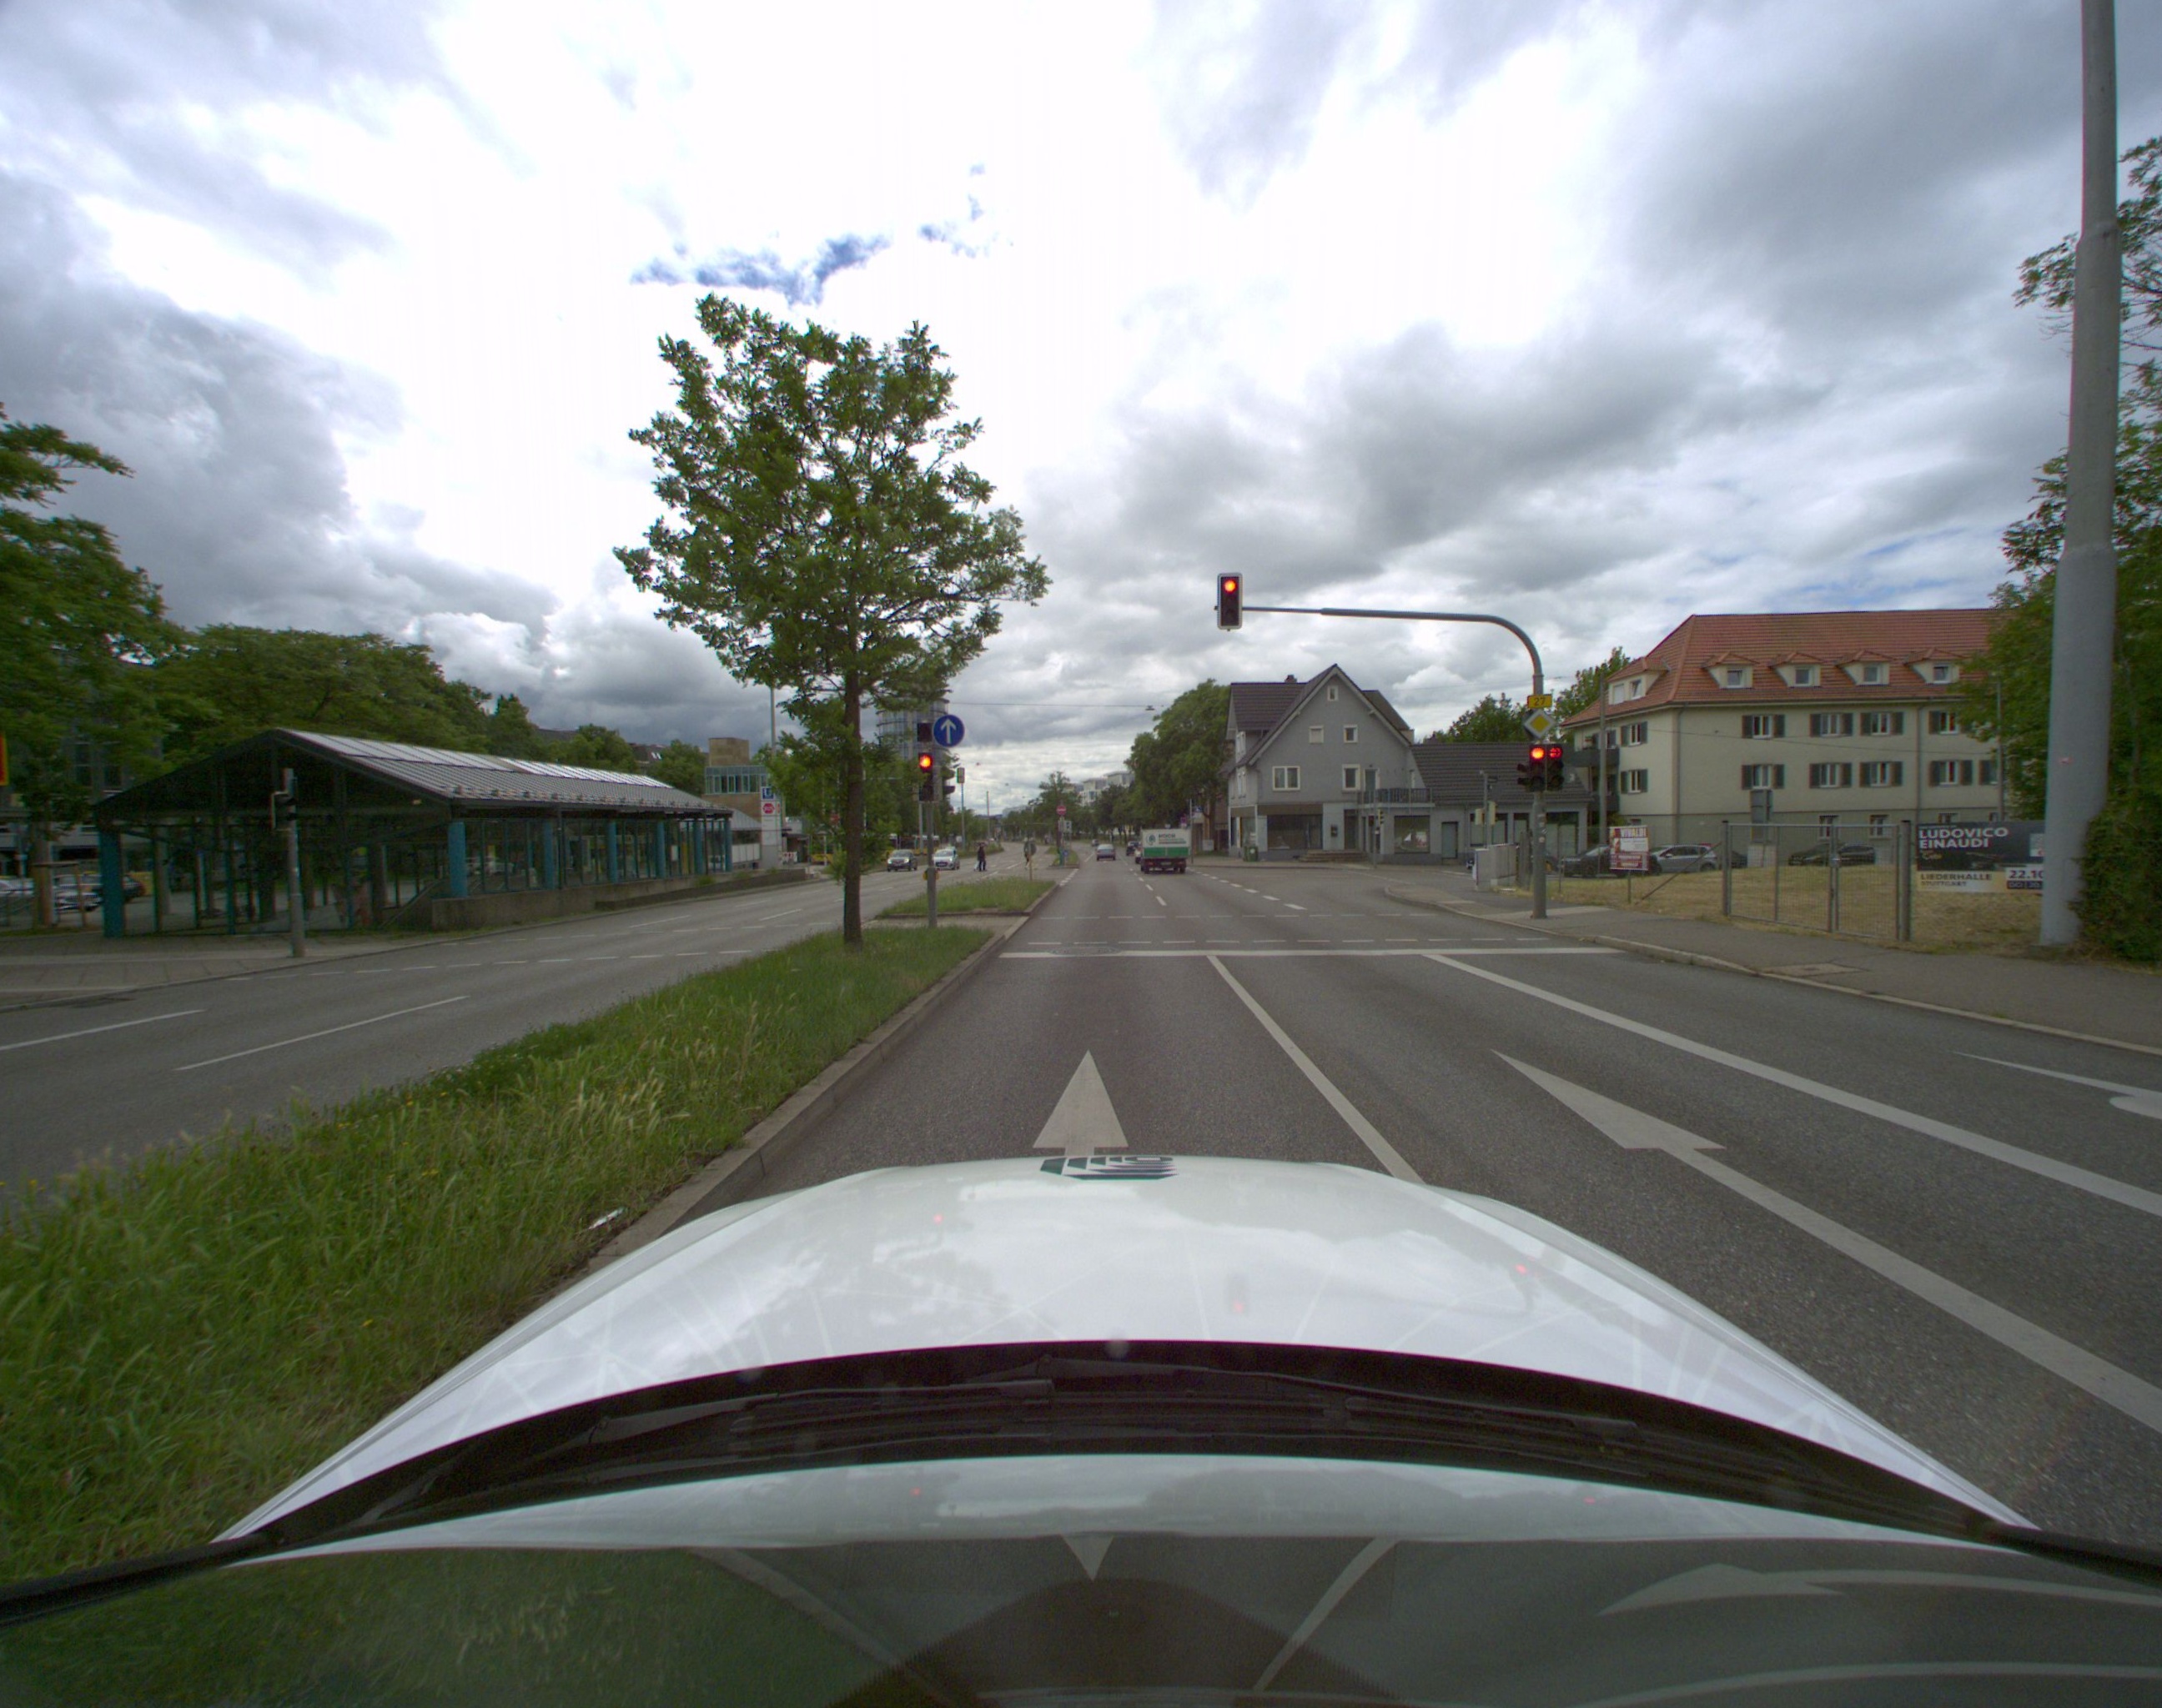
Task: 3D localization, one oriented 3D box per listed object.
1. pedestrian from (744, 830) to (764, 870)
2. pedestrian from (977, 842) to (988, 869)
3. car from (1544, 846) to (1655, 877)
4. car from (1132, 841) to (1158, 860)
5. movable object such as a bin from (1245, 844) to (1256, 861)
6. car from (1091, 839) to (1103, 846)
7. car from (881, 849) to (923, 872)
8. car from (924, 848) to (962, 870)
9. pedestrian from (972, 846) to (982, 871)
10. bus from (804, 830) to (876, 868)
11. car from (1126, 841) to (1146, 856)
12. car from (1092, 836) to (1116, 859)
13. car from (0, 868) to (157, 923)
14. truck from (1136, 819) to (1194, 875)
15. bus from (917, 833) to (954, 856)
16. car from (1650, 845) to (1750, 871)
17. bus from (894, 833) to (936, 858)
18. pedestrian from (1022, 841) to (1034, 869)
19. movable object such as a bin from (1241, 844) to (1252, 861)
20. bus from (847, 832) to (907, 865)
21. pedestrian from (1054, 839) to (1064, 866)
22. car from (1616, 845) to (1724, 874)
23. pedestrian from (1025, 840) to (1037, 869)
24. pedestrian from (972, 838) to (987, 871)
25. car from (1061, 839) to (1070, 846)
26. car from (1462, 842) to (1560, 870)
[{"bbox_3d":[-16.822,-0.188,41.889,0.679,2.013,0.645,-2,0,-3],"label":"pedestrian"},{"bbox_3d":[-6.212,0.090,51.436,0.611,1.716,0.545,-2,0,-5],"label":"pedestrian"},{"bbox_3d":[24.226,0.324,38.124,4.074,1.371,1.800,0,0,0],"label":"car"},{"bbox_3d":[5.418,-0.311,69.221,1.986,1.552,4.002,0,1,2],"label":"car"},{"bbox_3d":[10.503,-0.121,50.563,0.602,1.059,0.590,0,0,3],"label":"movable object such as a bin"},{"bbox_3d":[3.294,-2.410,172.125,1.992,1.552,3.991,-2,1,-7],"label":"car"},{"bbox_3d":[-12.882,0.439,58.827,1.987,1.486,4.001,-2,0,1],"label":"car"},{"bbox_3d":[-9.826,0.346,58.276,1.987,1.486,4.001,-2,0,1],"label":"car"},{"bbox_3d":[-6.502,0.278,50.791,0.542,1.496,0.486,-2,0,-5],"label":"pedestrian"},{"bbox_3d":[-23.480,-0.524,80.168,2.817,3.430,10.752,-2,0,6],"label":"bus"},{"bbox_3d":[5.714,-0.587,84.946,1.986,1.552,4.002,0,1,2],"label":"car"},{"bbox_3d":[1.997,-0.600,69.960,1.986,1.830,4.003,-1,2,2],"label":"car"},{"bbox_3d":[-37.996,1.520,30.617,3.978,1.837,1.998,-2,1,-4],"label":"car"},{"bbox_3d":[4.139,-0.437,41.317,2.462,2.611,6.551,0,2,1],"label":"truck"},{"bbox_3d":[-23.584,-1.532,132.713,2.817,3.430,10.752,-2,0,6],"label":"bus"},{"bbox_3d":[33.332,0.201,43.933,4.074,1.371,1.800,0,0,0],"label":"car"},{"bbox_3d":[-24.730,-1.307,121.997,2.817,3.430,10.752,-2,0,6],"label":"bus"},{"bbox_3d":[-3.325,0.069,50.996,0.744,1.716,0.582,-2,0,-5],"label":"pedestrian"},{"bbox_3d":[10.463,-0.104,51.419,0.613,1.043,0.590,0,0,3],"label":"movable object such as a bin"},{"bbox_3d":[-22.395,-0.635,90.274,2.817,3.430,10.752,-2,0,6],"label":"bus"},{"bbox_3d":[-1.404,-0.097,52.485,0.582,1.716,0.545,-2,0,-5],"label":"pedestrian"},{"bbox_3d":[29.225,0.273,40.487,4.074,1.371,1.800,0,0,0],"label":"car"},{"bbox_3d":[-3.082,0.026,50.199,0.652,1.716,0.451,-2,0,-5],"label":"pedestrian"},{"bbox_3d":[-6.215,0.024,49.927,0.828,2.013,0.545,-2,0,-5],"label":"pedestrian"},{"bbox_3d":[-3.511,-2.659,183.561,1.988,1.519,3.998,-2,1,-2],"label":"car"},{"bbox_3d":[21.846,0.114,41.504,4.074,1.371,1.800,0,0,0],"label":"car"}]
